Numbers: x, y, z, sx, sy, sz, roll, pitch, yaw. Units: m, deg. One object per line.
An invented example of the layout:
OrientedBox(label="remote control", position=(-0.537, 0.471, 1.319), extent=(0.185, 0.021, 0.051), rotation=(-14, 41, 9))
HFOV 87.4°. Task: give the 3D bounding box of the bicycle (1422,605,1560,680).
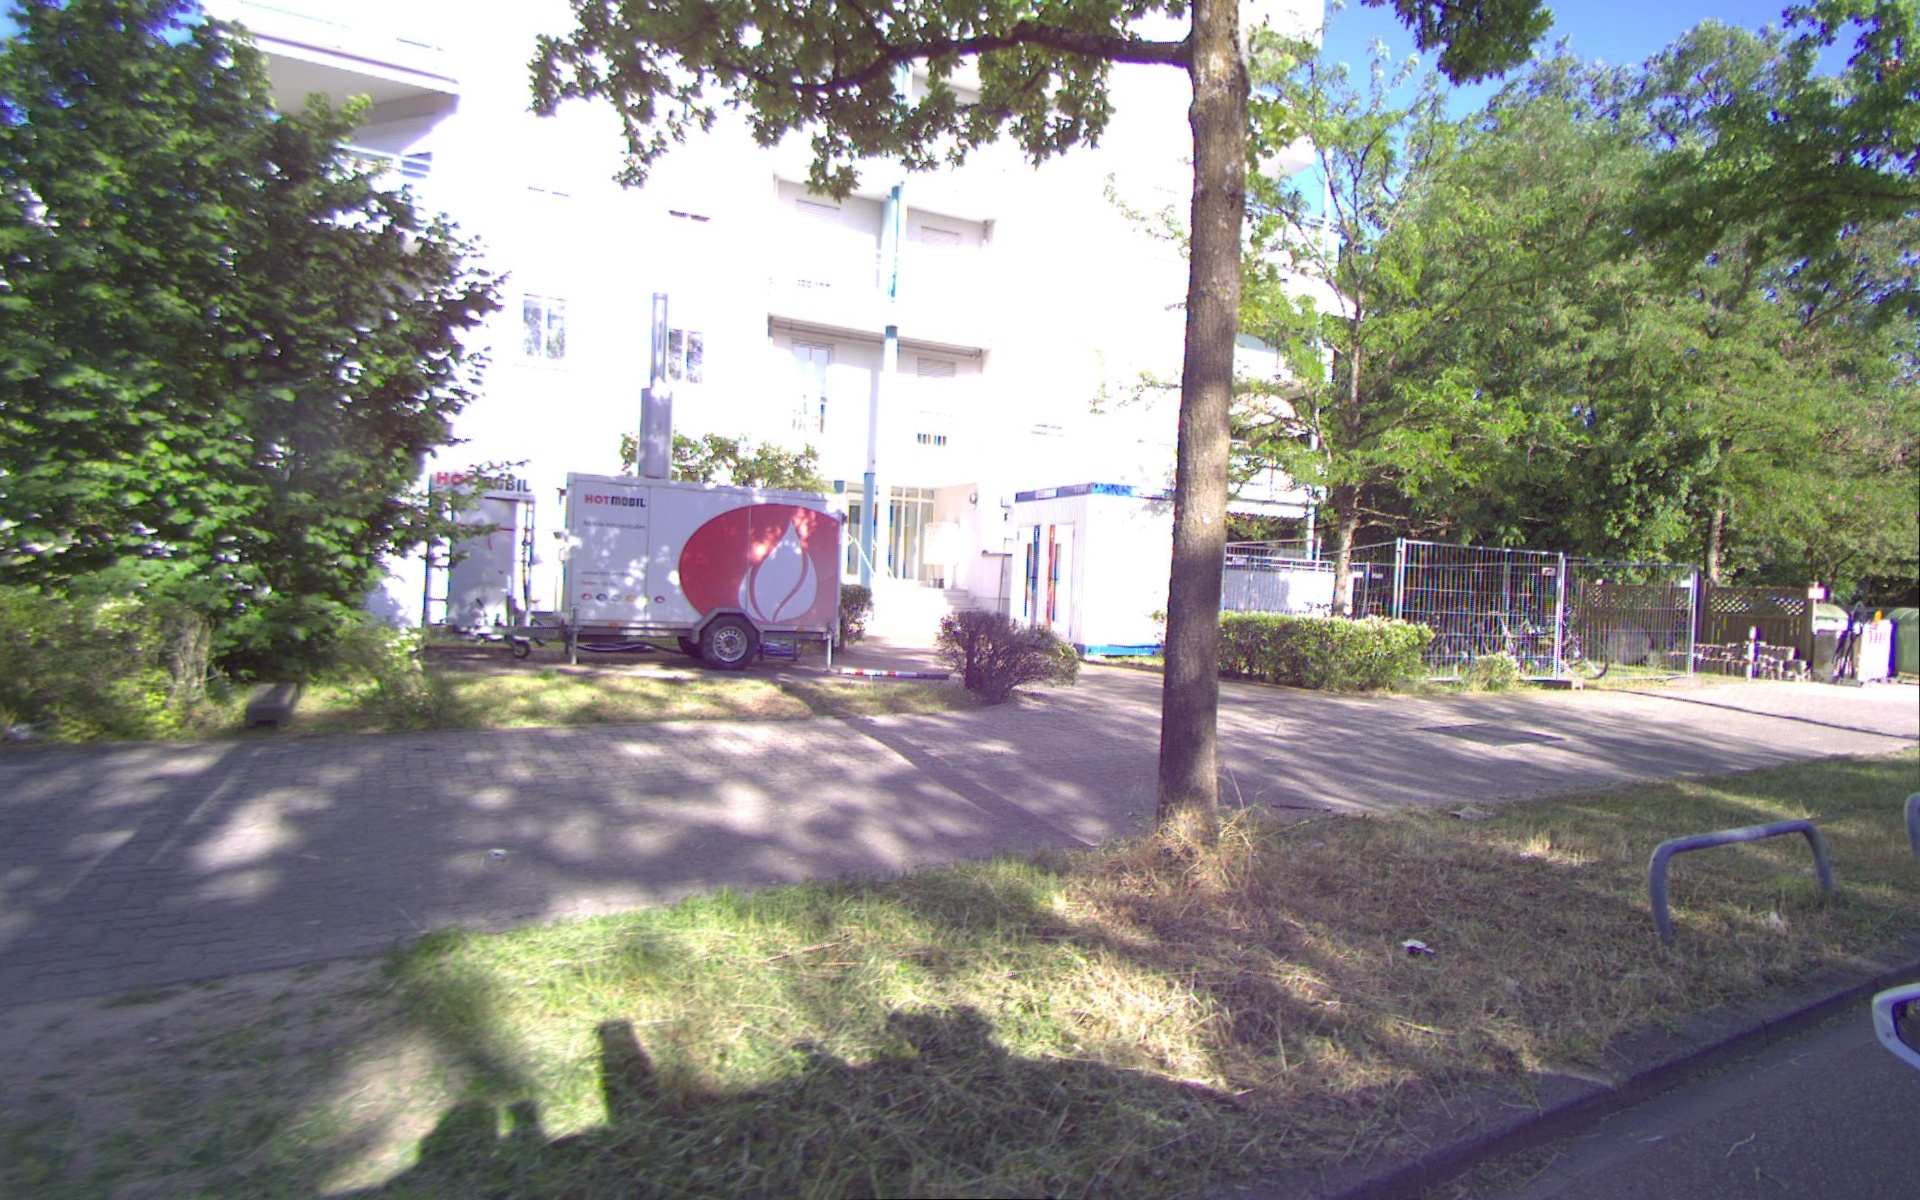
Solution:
OrientedBox(label="bicycle", position=(8.288, 0.639, 15.751), extent=(0.397, 1.040, 1.838), rotation=(2, 1, -41))

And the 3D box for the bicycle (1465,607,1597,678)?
OrientedBox(label="bicycle", position=(9.384, 0.676, 16.562), extent=(0.397, 1.040, 1.821), rotation=(2, 1, -41))

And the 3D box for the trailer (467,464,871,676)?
OrientedBox(label="trailer", position=(-3.432, -0.302, 11.945), extent=(4.288, 2.149, 1.857), rotation=(2, 3, -26))

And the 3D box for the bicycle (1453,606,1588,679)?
OrientedBox(label="bicycle", position=(9.058, 0.668, 16.289), extent=(0.397, 1.040, 1.842), rotation=(2, 1, -41))

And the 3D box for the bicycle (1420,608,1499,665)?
OrientedBox(label="bicycle", position=(9.568, 0.708, 19.211), extent=(1.679, 1.040, 0.398), rotation=(2, 1, -28))

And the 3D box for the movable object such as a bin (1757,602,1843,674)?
OrientedBox(label="movable object such as a bin", position=(18.265, 0.801, 21.882), extent=(1.124, 1.455, 1.271), rotation=(2, 1, 27))

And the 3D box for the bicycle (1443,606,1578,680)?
OrientedBox(label="bicycle", position=(8.706, 0.656, 15.961), extent=(0.397, 1.040, 1.821), rotation=(2, 1, -41))

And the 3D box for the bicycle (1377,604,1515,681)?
OrientedBox(label="bicycle", position=(7.417, 0.627, 15.406), extent=(0.397, 1.040, 1.852), rotation=(2, 1, -41))

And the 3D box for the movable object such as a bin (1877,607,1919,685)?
OrientedBox(label="movable object such as a bin", position=(18.745, 0.899, 19.242), extent=(1.161, 1.455, 1.270), rotation=(2, 1, -13))

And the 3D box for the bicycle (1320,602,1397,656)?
OrientedBox(label="bicycle", position=(8.503, 0.608, 21.500), extent=(0.395, 1.040, 1.691), rotation=(2, 1, -23))

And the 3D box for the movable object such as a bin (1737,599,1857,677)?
OrientedBox(label="movable object such as a bin", position=(16.843, 0.742, 20.259), extent=(1.300, 1.455, 1.273), rotation=(2, 1, -1))

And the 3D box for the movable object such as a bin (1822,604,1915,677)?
OrientedBox(label="movable object such as a bin", position=(19.384, 0.828, 21.481), extent=(1.124, 1.455, 1.271), rotation=(2, 1, 27))

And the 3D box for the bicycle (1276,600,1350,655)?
OrientedBox(label="bicycle", position=(7.372, 0.557, 21.041), extent=(0.395, 1.040, 1.691), rotation=(2, 1, -23))

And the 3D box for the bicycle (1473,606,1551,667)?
OrientedBox(label="bicycle", position=(10.084, 0.675, 18.331), extent=(1.681, 1.040, 0.397), rotation=(2, 1, -31))

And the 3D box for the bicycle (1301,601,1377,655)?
OrientedBox(label="bicycle", position=(8.002, 0.577, 21.279), extent=(0.395, 1.040, 1.691), rotation=(2, 1, -23))

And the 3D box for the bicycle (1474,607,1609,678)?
OrientedBox(label="bicycle", position=(9.736, 0.689, 16.876), extent=(0.397, 1.040, 1.897), rotation=(2, 1, -41))
